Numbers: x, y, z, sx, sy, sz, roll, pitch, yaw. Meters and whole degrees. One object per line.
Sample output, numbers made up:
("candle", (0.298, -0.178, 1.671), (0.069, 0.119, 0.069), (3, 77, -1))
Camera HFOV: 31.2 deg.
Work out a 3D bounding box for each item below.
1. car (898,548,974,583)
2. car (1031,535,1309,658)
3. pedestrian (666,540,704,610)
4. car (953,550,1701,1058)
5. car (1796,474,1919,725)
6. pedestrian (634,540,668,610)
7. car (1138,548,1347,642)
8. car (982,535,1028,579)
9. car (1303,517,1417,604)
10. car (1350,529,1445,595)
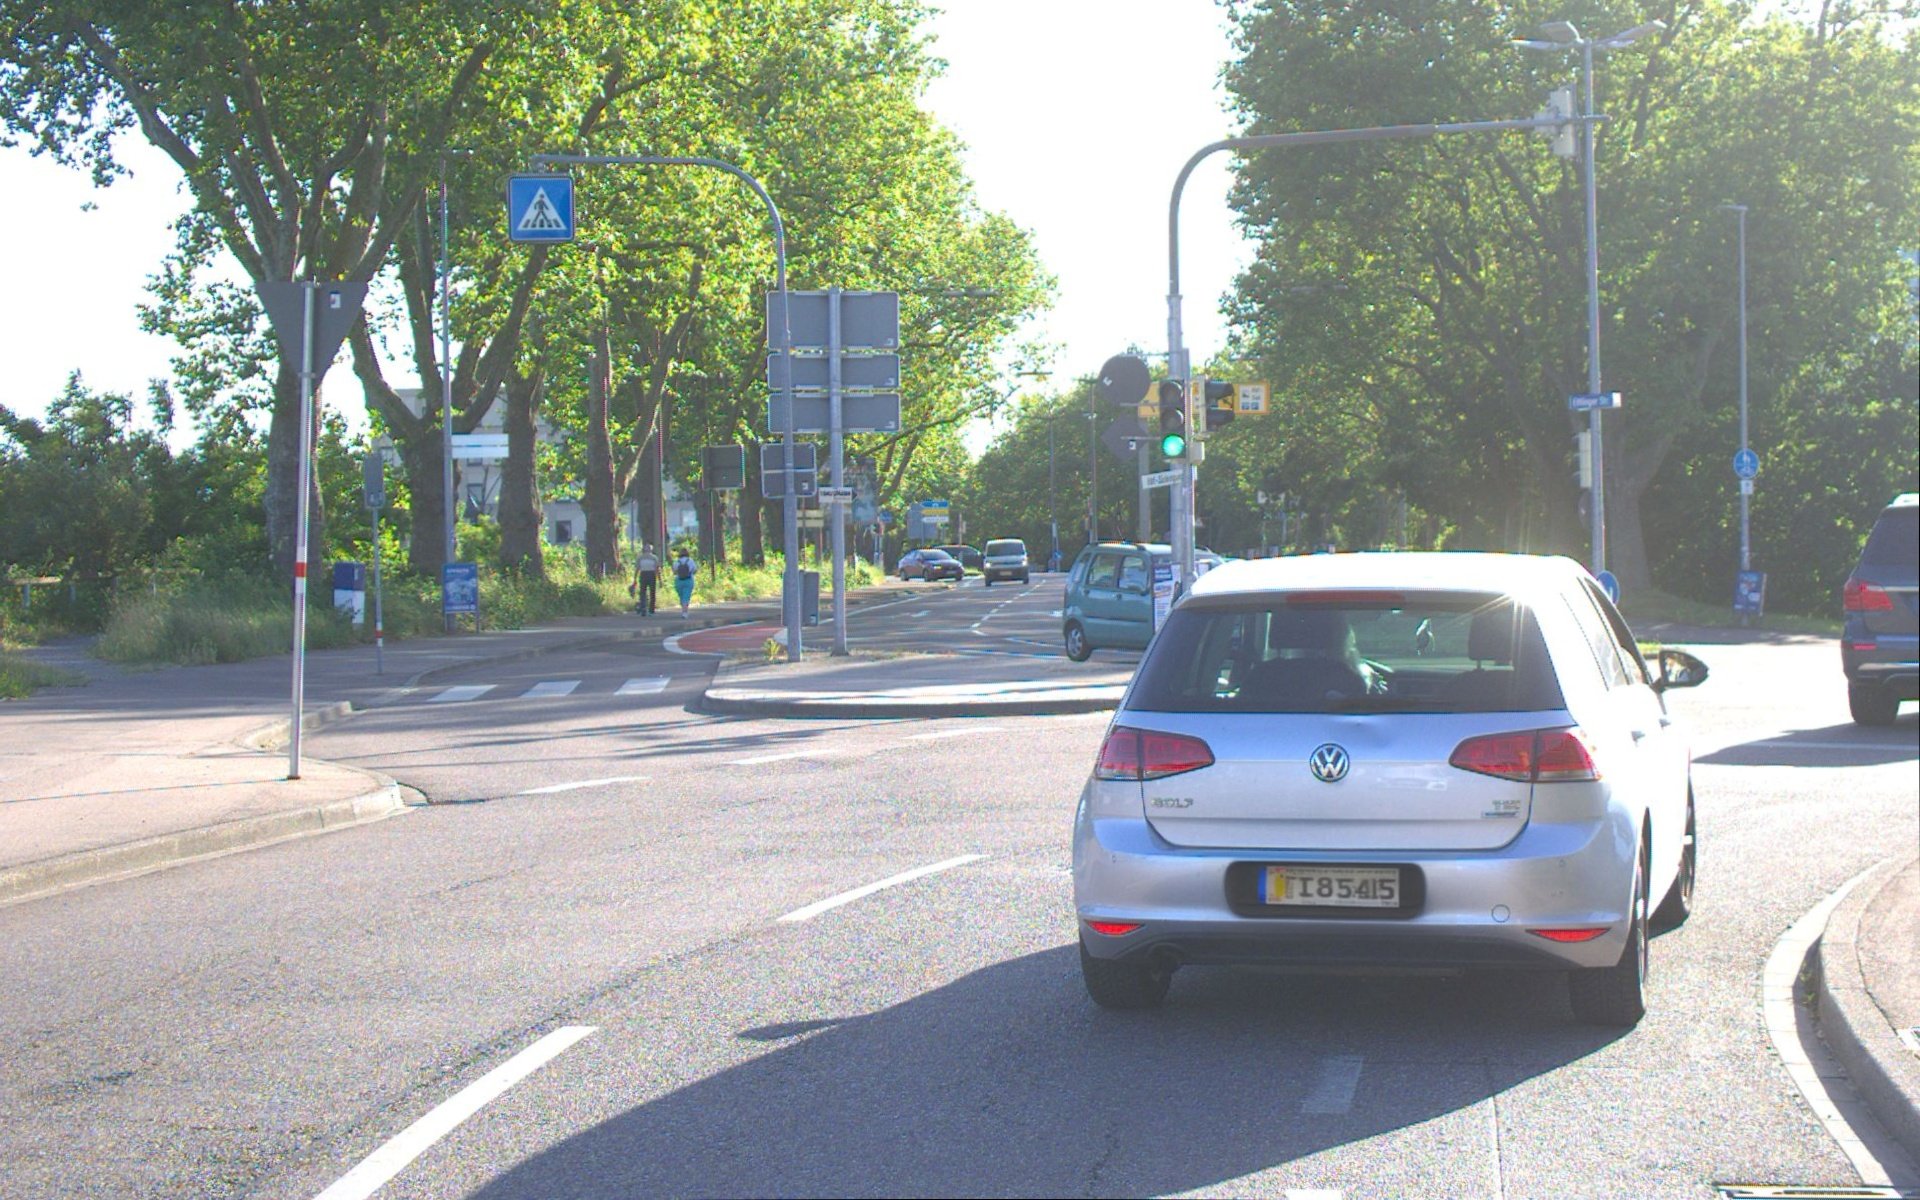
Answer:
("car", (-1.138, -1.607, 159.551), (1.853, 1.593, 4.326), (-1, 1, -26))
("car", (2.866, -0.063, 47.718), (1.914, 1.630, 4.121), (0, 0, -29))
("pedestrian", (-6.241, -0.575, 78.086), (0.728, 1.586, 0.804), (0, 0, 4))
("car", (1.437, 0.551, 11.779), (1.971, 1.422, 3.934), (0, 1, 15))
("car", (8.410, -0.019, 27.865), (2.116, 1.881, 4.805), (0, 0, 27))
("pedestrian", (-7.060, -0.572, 78.514), (0.663, 1.581, 0.631), (0, 0, 4))
("car", (4.402, -0.087, 54.114), (1.902, 1.422, 3.938), (0, 0, -18))
("car", (1.826, -1.734, 139.423), (1.853, 1.737, 4.266), (0, 1, 1))
("car", (8.300, -0.823, 71.636), (1.853, 1.737, 4.266), (0, 1, 0))
("car", (11.242, -0.983, 88.582), (1.853, 1.644, 4.266), (0, 1, -1))
